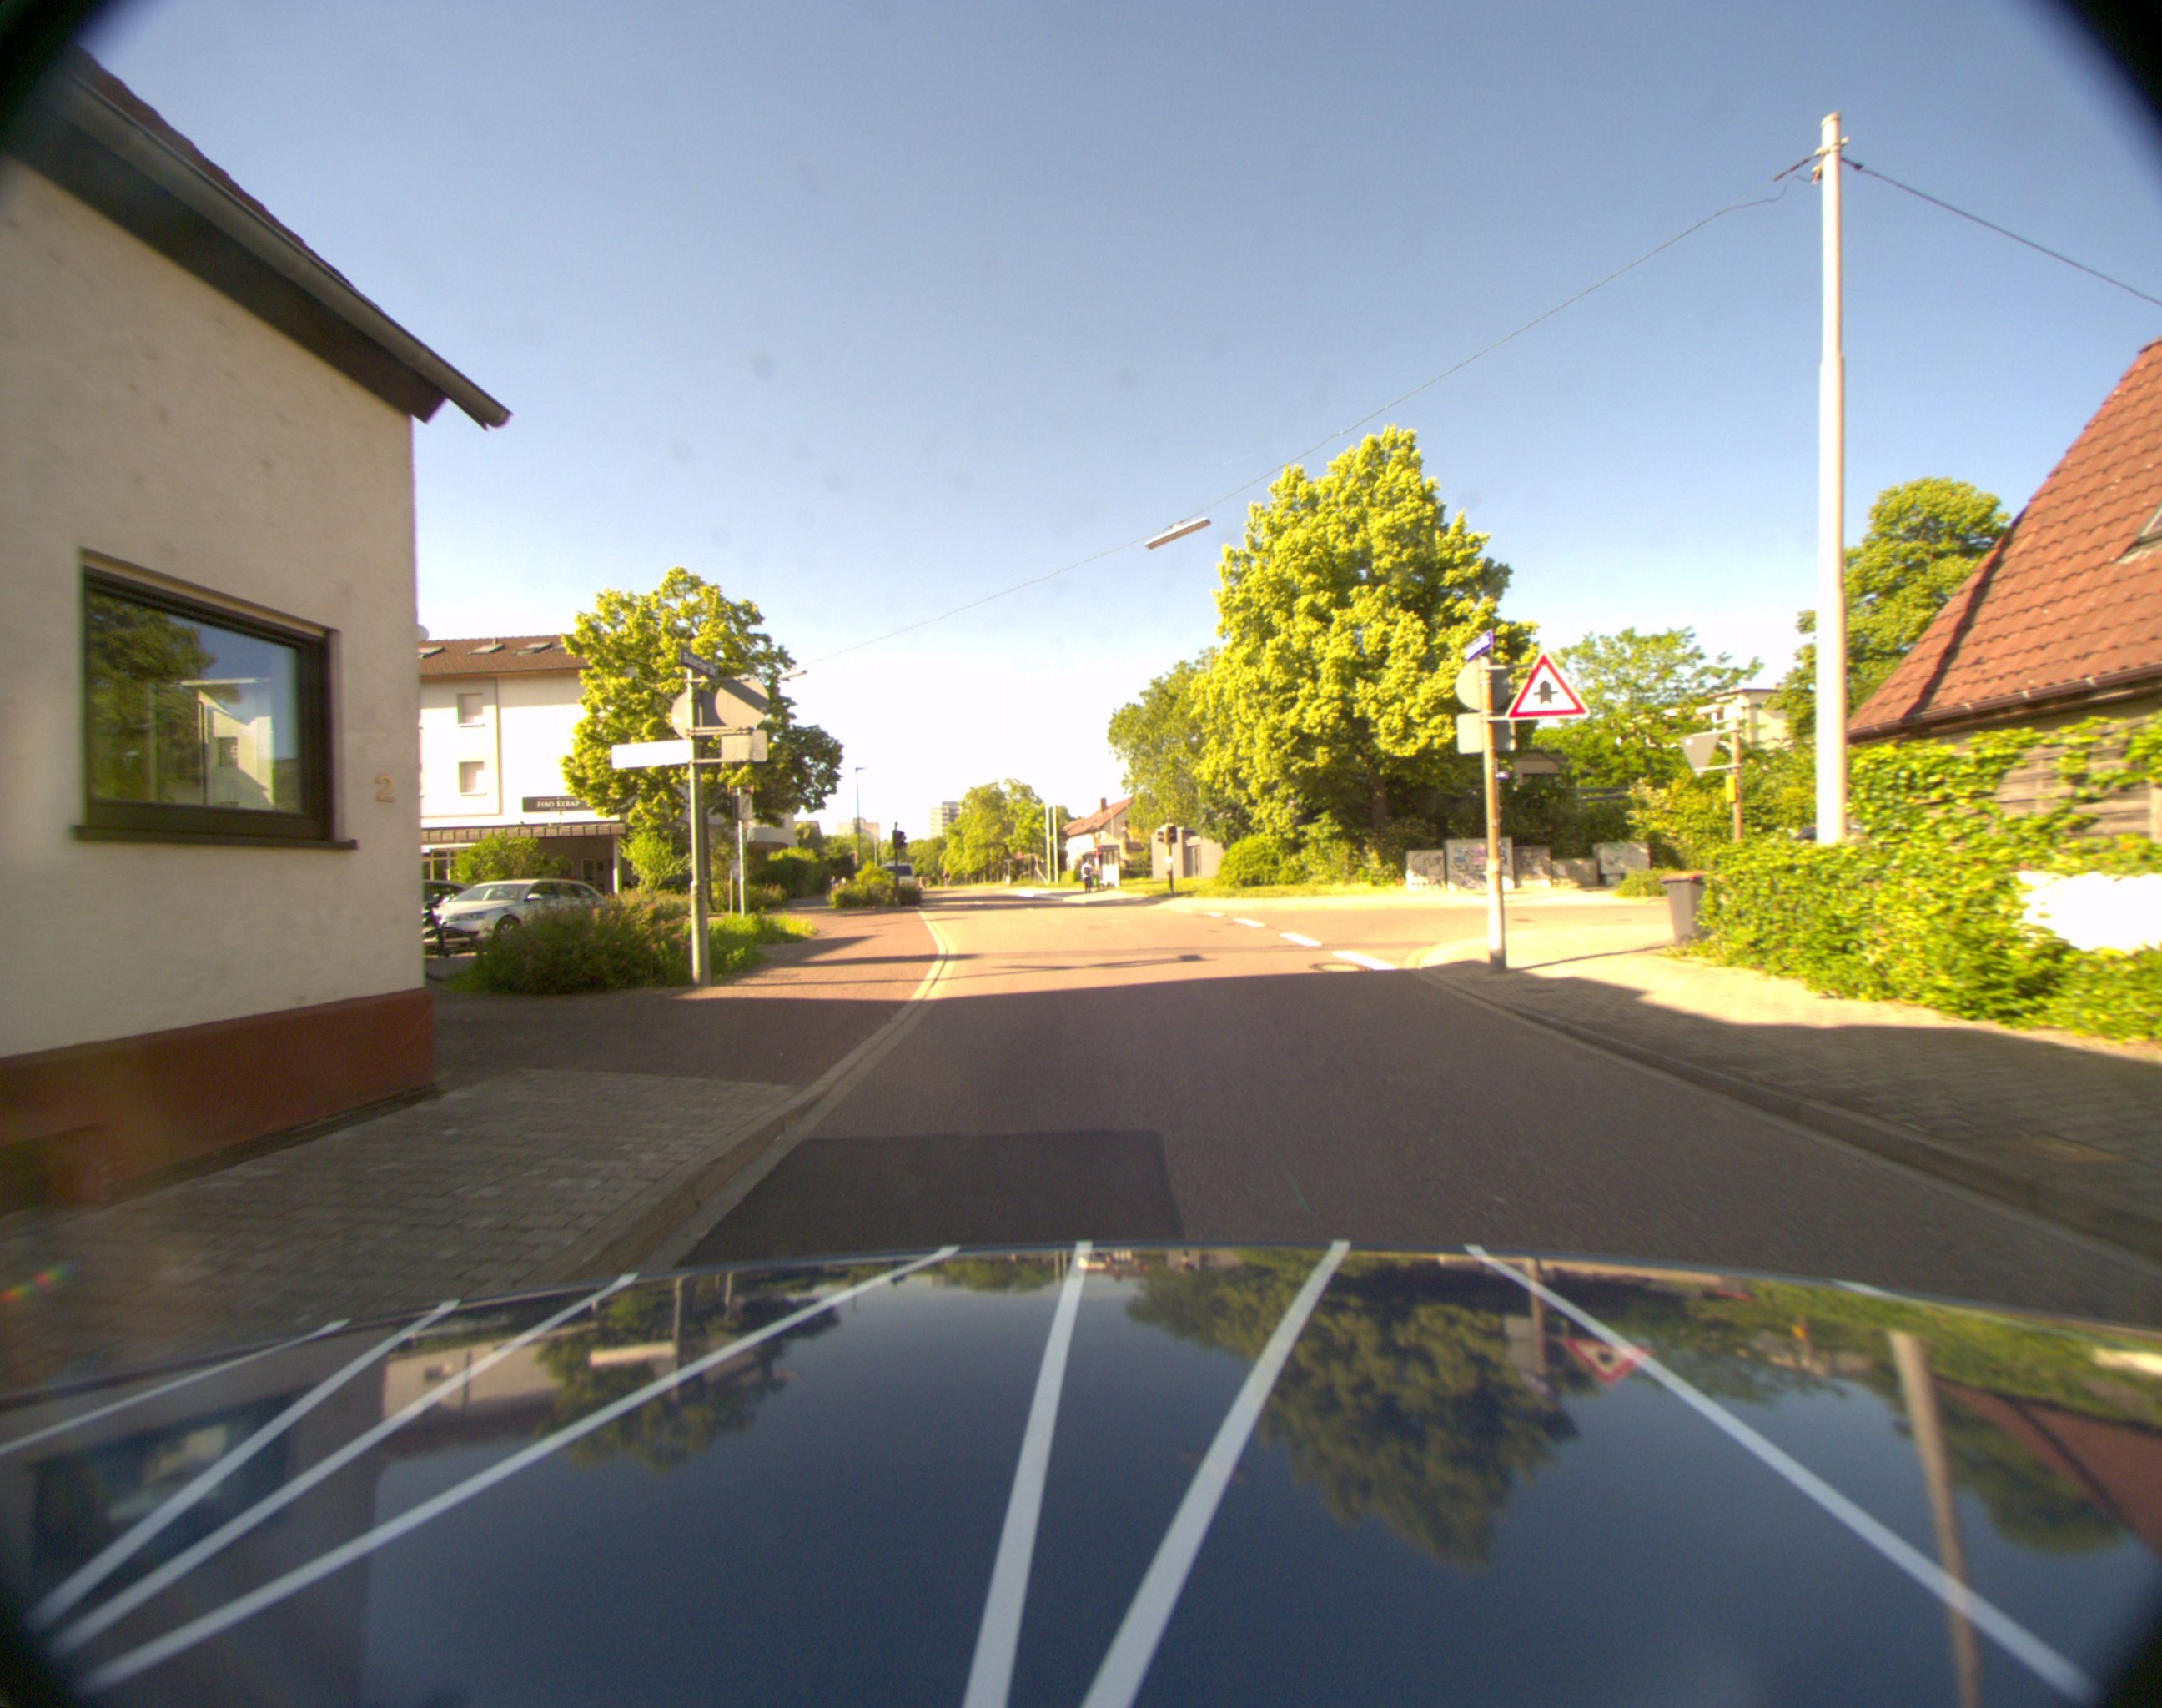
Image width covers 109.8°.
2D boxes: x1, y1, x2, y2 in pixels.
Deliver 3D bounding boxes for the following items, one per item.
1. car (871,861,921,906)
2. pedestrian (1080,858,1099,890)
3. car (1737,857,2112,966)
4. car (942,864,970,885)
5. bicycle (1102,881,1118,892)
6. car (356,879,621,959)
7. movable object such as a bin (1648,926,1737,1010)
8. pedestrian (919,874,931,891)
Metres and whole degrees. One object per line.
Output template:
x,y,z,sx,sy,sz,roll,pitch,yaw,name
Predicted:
-9.017,1.417,37.404,2.000,2.066,4.575,-1,-1,-9,car
0.492,1.165,43.906,0.716,1.792,0.772,-2,1,27,pedestrian
14.564,0.963,13.382,4.229,1.715,1.946,-1,1,5,car
-12.036,1.939,72.943,1.968,1.908,4.572,-1,-1,-17,car
2.863,3.209,74.511,1.599,0.978,0.500,-1,-3,3,bicycle
-12.202,1.305,16.199,1.999,1.412,4.804,-1,-3,-2,car
7.265,1.340,9.047,0.557,0.919,0.626,-1,-2,6,movable object such as a bin
-14.696,2.704,71.674,0.835,1.577,0.632,3,0,4,pedestrian
